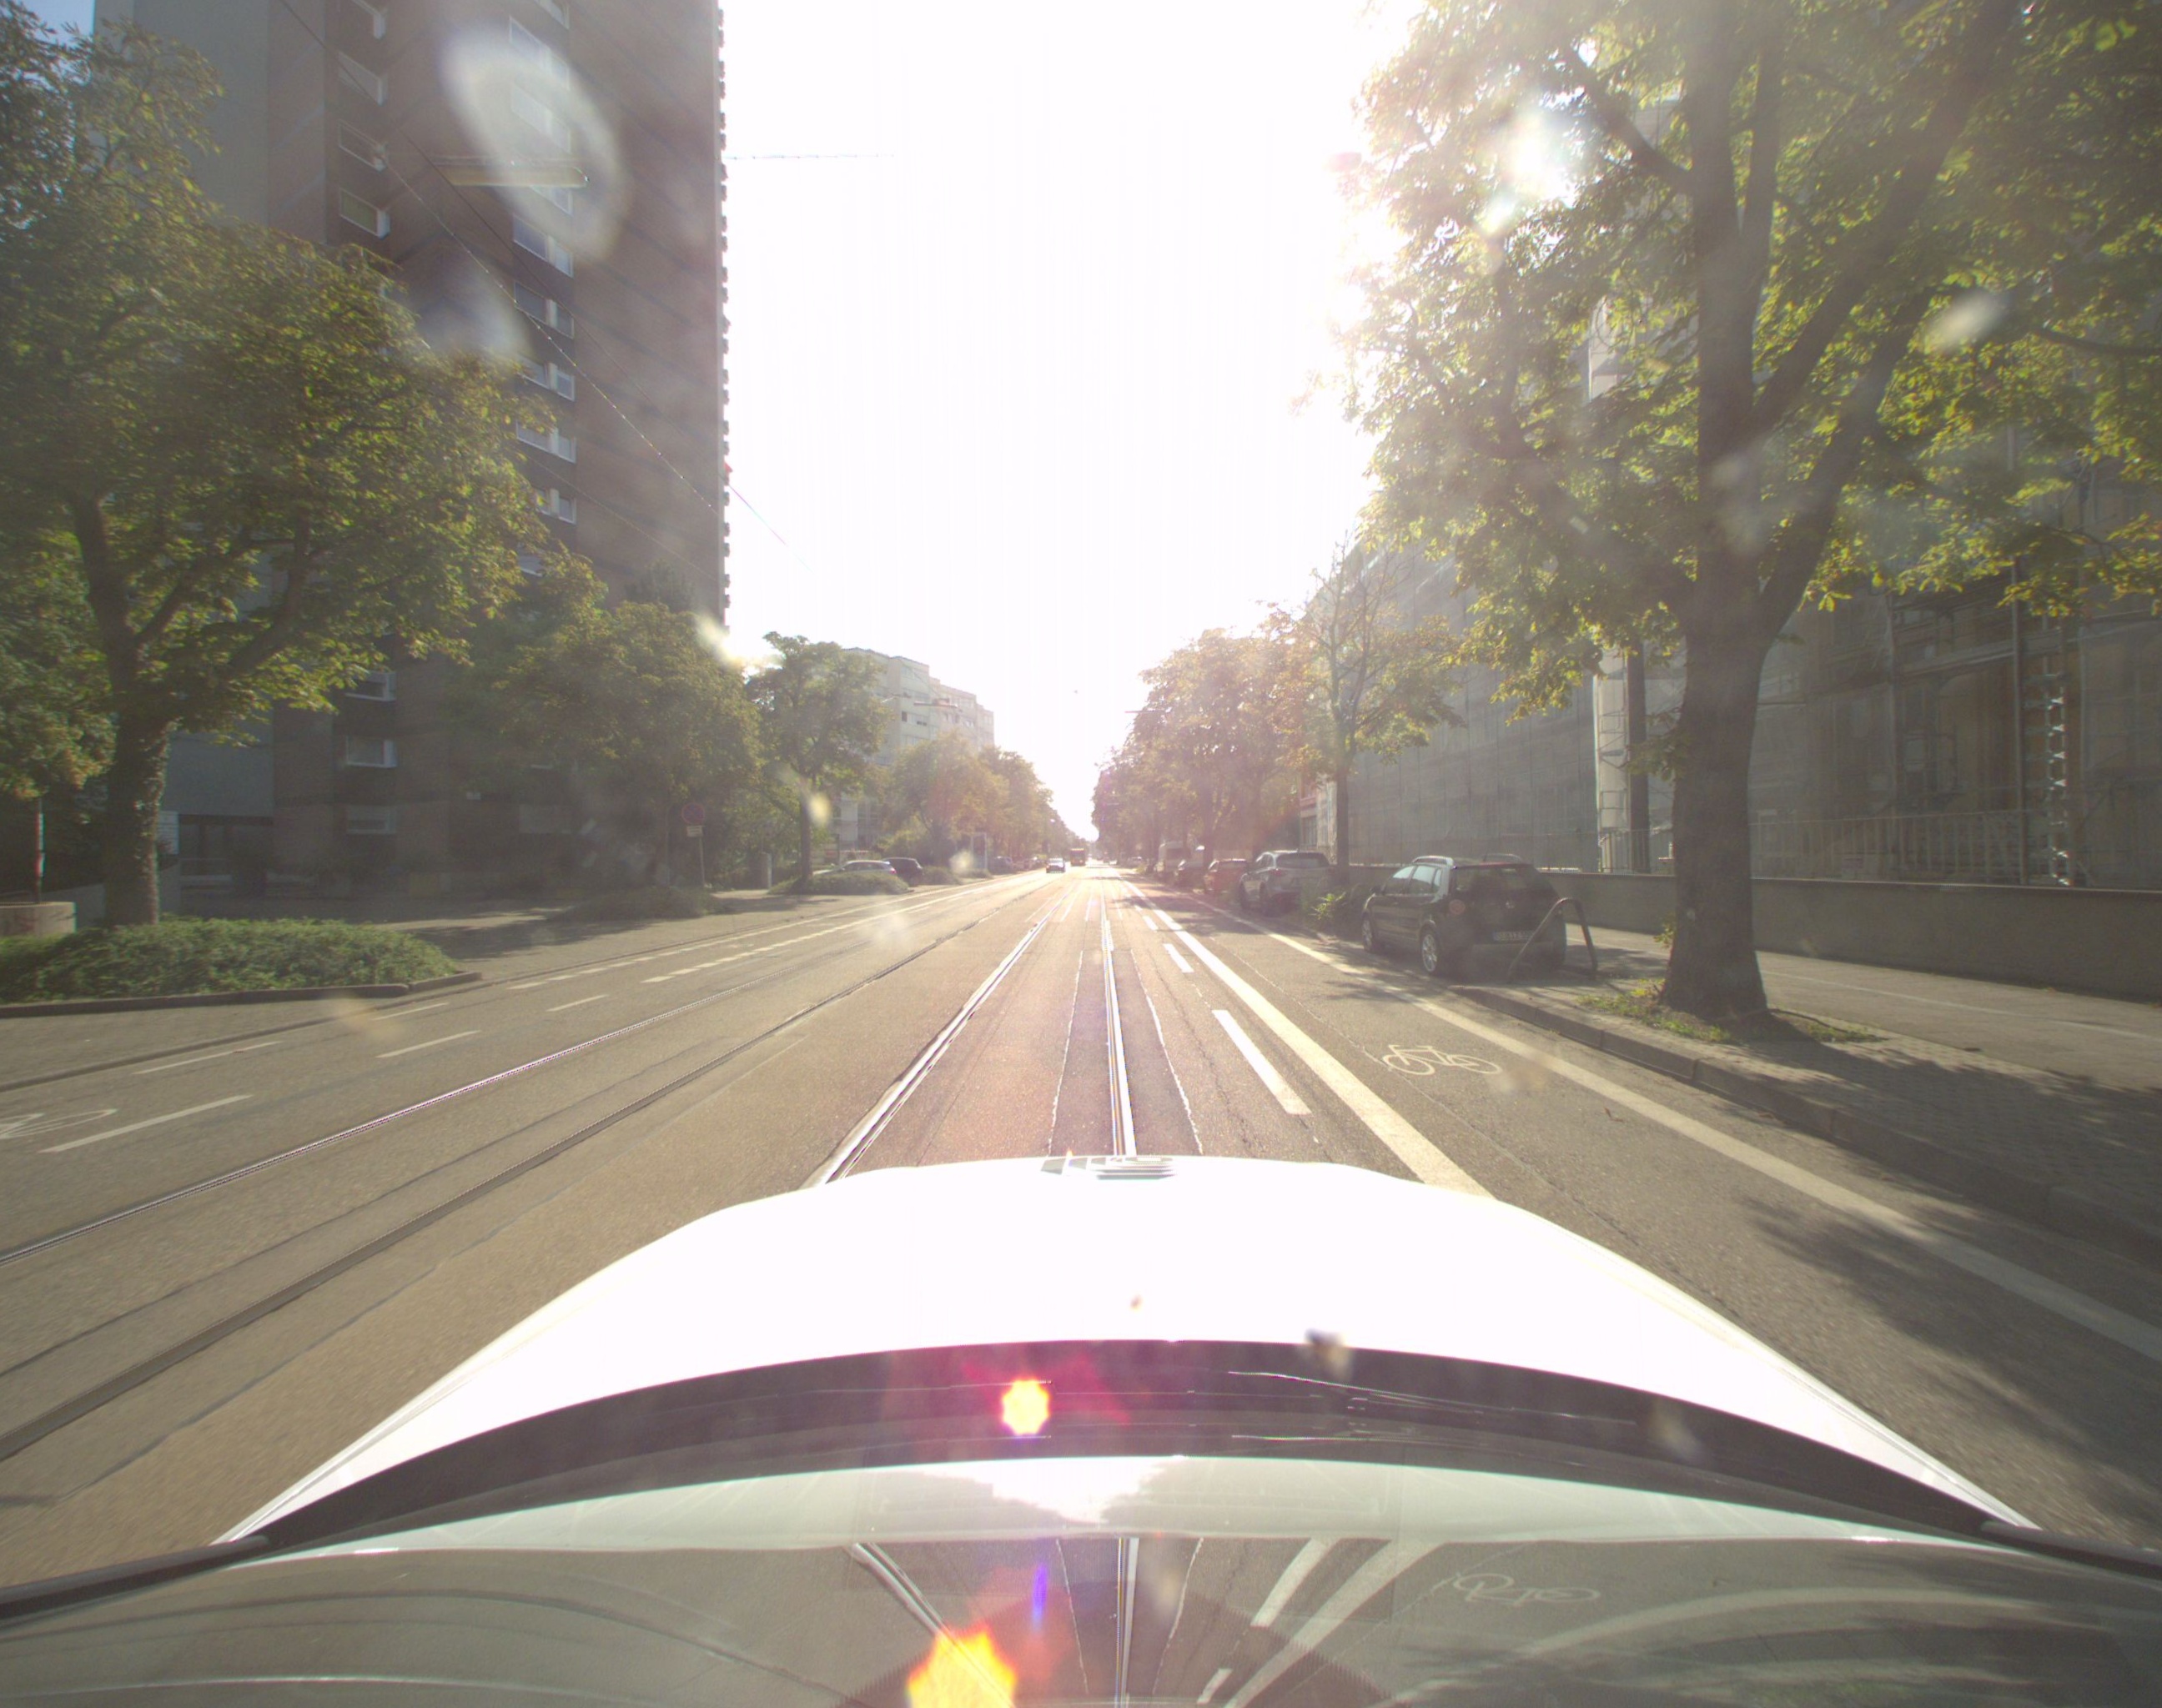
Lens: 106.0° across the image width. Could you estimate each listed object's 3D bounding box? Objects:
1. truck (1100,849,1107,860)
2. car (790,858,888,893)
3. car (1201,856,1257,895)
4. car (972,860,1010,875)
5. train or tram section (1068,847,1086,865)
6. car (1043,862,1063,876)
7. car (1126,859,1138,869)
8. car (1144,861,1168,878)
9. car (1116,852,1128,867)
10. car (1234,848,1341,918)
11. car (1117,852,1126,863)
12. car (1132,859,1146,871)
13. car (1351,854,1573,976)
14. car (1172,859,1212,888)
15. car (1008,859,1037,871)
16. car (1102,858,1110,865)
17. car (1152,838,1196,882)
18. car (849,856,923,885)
[{"bbox_3d":[6.541,0.127,236.274,1.855,3.131,4.350,-1,-1,-1],"label":"truck"},{"bbox_3d":[-11.043,0.945,37.191,4.010,1.479,1.772,0,0,-29],"label":"car"},{"bbox_3d":[5.834,0.835,32.473,1.610,1.413,4.001,-2,-1,2],"label":"car"},{"bbox_3d":[-9.662,1.434,87.695,3.817,1.621,1.722,0,-1,-44],"label":"car"},{"bbox_3d":[-0.582,0.412,147.276,2.719,2.894,15.457,-1,-1,1],"label":"train or tram section"},{"bbox_3d":[-2.755,1.517,82.009,1.822,1.376,4.512,-1,0,0],"label":"car"},{"bbox_3d":[7.421,1.497,119.354,1.588,1.418,3.636,-1,-1,2],"label":"car"},{"bbox_3d":[6.650,1.310,72.211,1.747,1.377,4.720,-3,-1,1],"label":"car"},{"bbox_3d":[7.445,0.998,147.343,1.997,2.490,4.478,2,-1,2],"label":"car"},{"bbox_3d":[5.424,0.704,21.979,1.748,1.691,4.395,0,0,-1],"label":"car"},{"bbox_3d":[8.630,0.765,174.237,1.997,2.475,4.479,-1,-1,2],"label":"car"},{"bbox_3d":[7.492,1.433,105.560,1.683,1.418,3.636,-1,-1,2],"label":"car"},{"bbox_3d":[5.289,0.742,11.850,1.570,1.485,3.740,0,0,2],"label":"car"},{"bbox_3d":[5.792,0.998,42.901,1.610,1.374,4.829,-2,-1,2],"label":"car"},{"bbox_3d":[-7.837,1.467,109.143,1.550,1.443,3.786,-1,-1,41],"label":"car"},{"bbox_3d":[6.177,1.871,203.339,1.986,1.838,4.002,-1,-1,2],"label":"car"},{"bbox_3d":[6.015,0.401,53.177,2.076,2.552,5.500,-4,-1,0],"label":"car"},{"bbox_3d":[-10.503,0.894,43.926,3.651,1.515,1.609,1,-1,-24],"label":"car"}]
